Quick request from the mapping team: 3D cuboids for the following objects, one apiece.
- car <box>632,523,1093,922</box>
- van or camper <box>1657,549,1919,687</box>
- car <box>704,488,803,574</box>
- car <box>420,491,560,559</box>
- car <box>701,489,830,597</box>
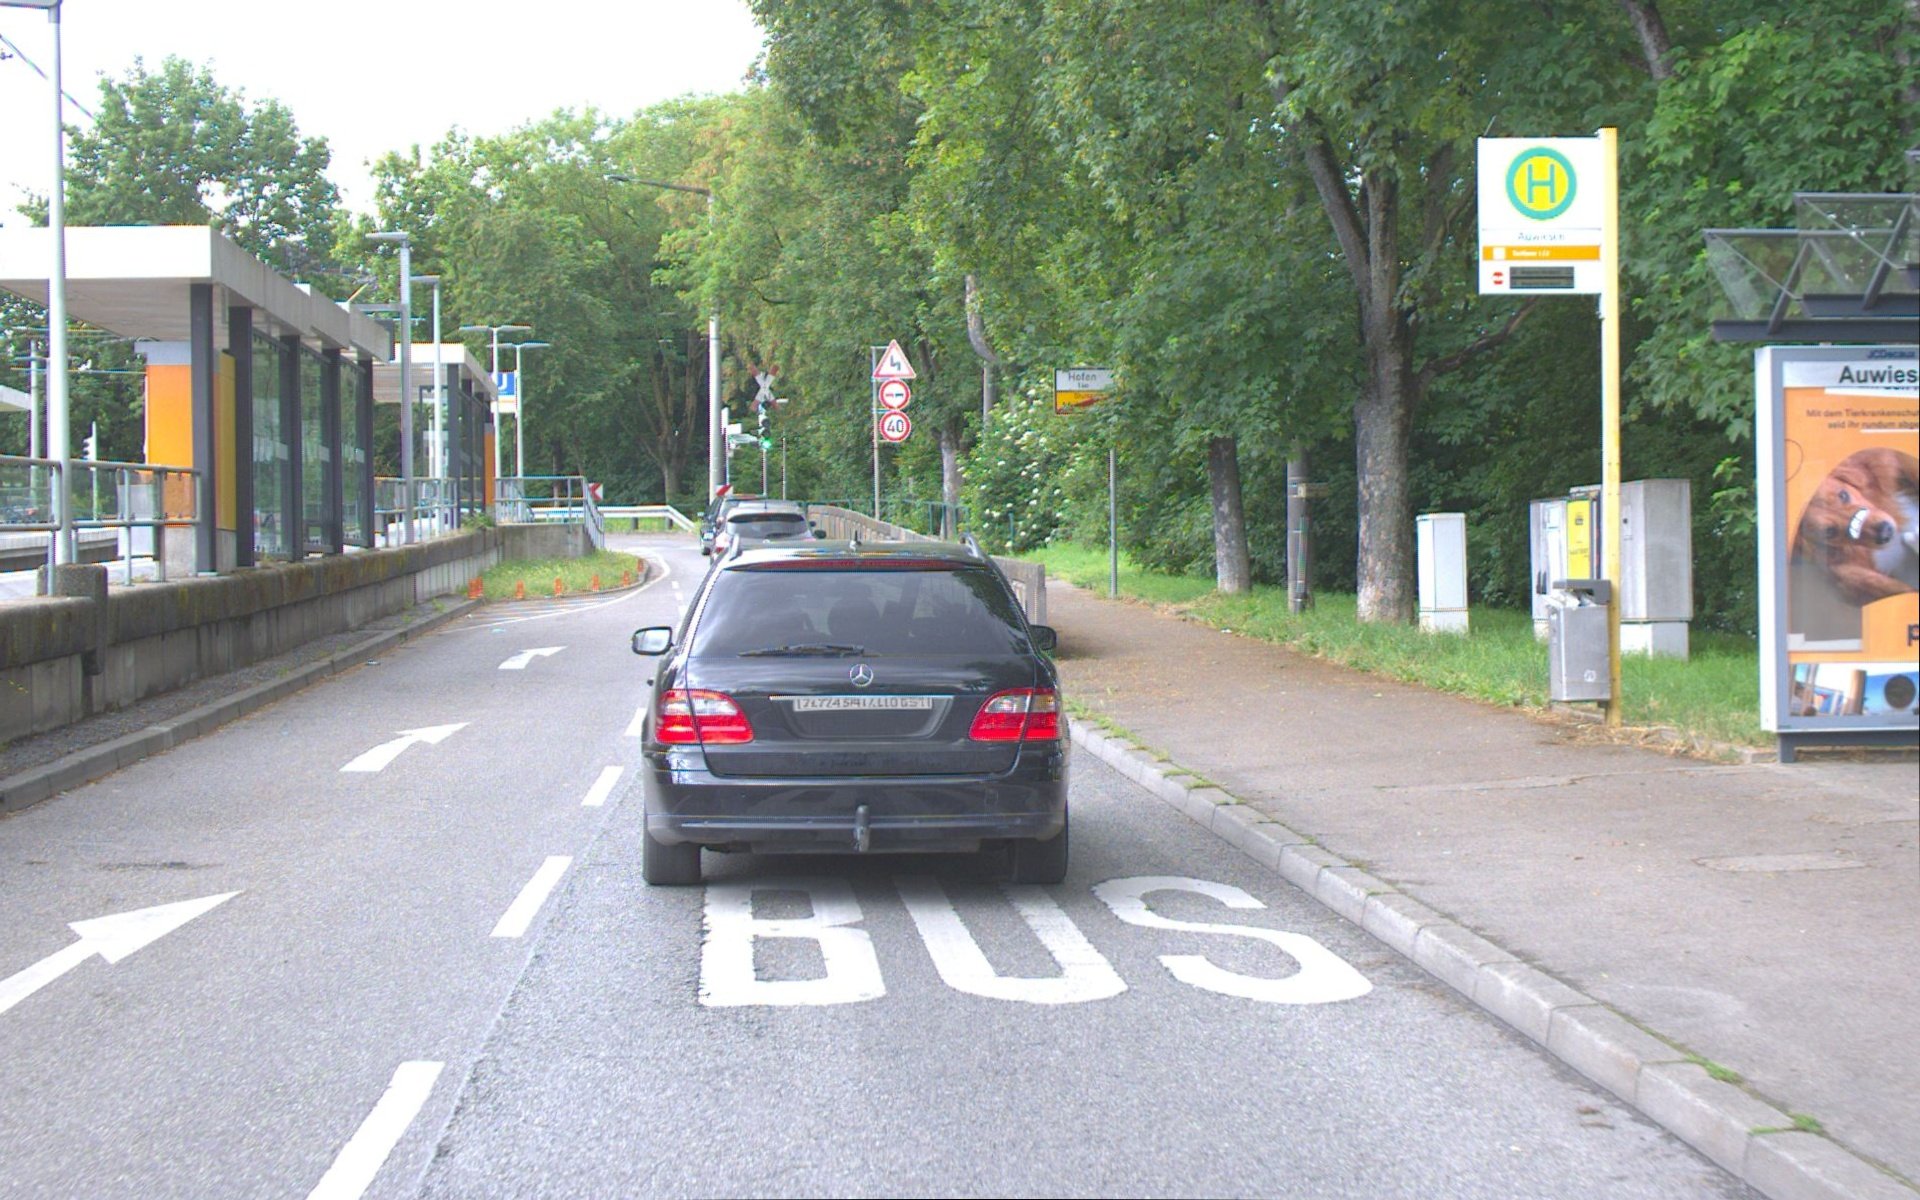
[{"bbox_3d":[-0.565,0.439,15.411,1.781,1.520,4.001,0,2,-6],"label":"car"},{"bbox_3d":[13.164,0.237,53.801,2.177,2.007,5.842,1,0,-12],"label":"van or camper"},{"bbox_3d":[-4.920,-1.609,81.293,1.993,1.911,4.001,2,0,-8],"label":"car"},{"bbox_3d":[-13.767,-2.193,100.514,3.997,1.886,1.995,2,1,45],"label":"car"},{"bbox_3d":[-3.054,-0.921,54.537,1.782,1.642,4.000,0,1,1],"label":"car"}]
